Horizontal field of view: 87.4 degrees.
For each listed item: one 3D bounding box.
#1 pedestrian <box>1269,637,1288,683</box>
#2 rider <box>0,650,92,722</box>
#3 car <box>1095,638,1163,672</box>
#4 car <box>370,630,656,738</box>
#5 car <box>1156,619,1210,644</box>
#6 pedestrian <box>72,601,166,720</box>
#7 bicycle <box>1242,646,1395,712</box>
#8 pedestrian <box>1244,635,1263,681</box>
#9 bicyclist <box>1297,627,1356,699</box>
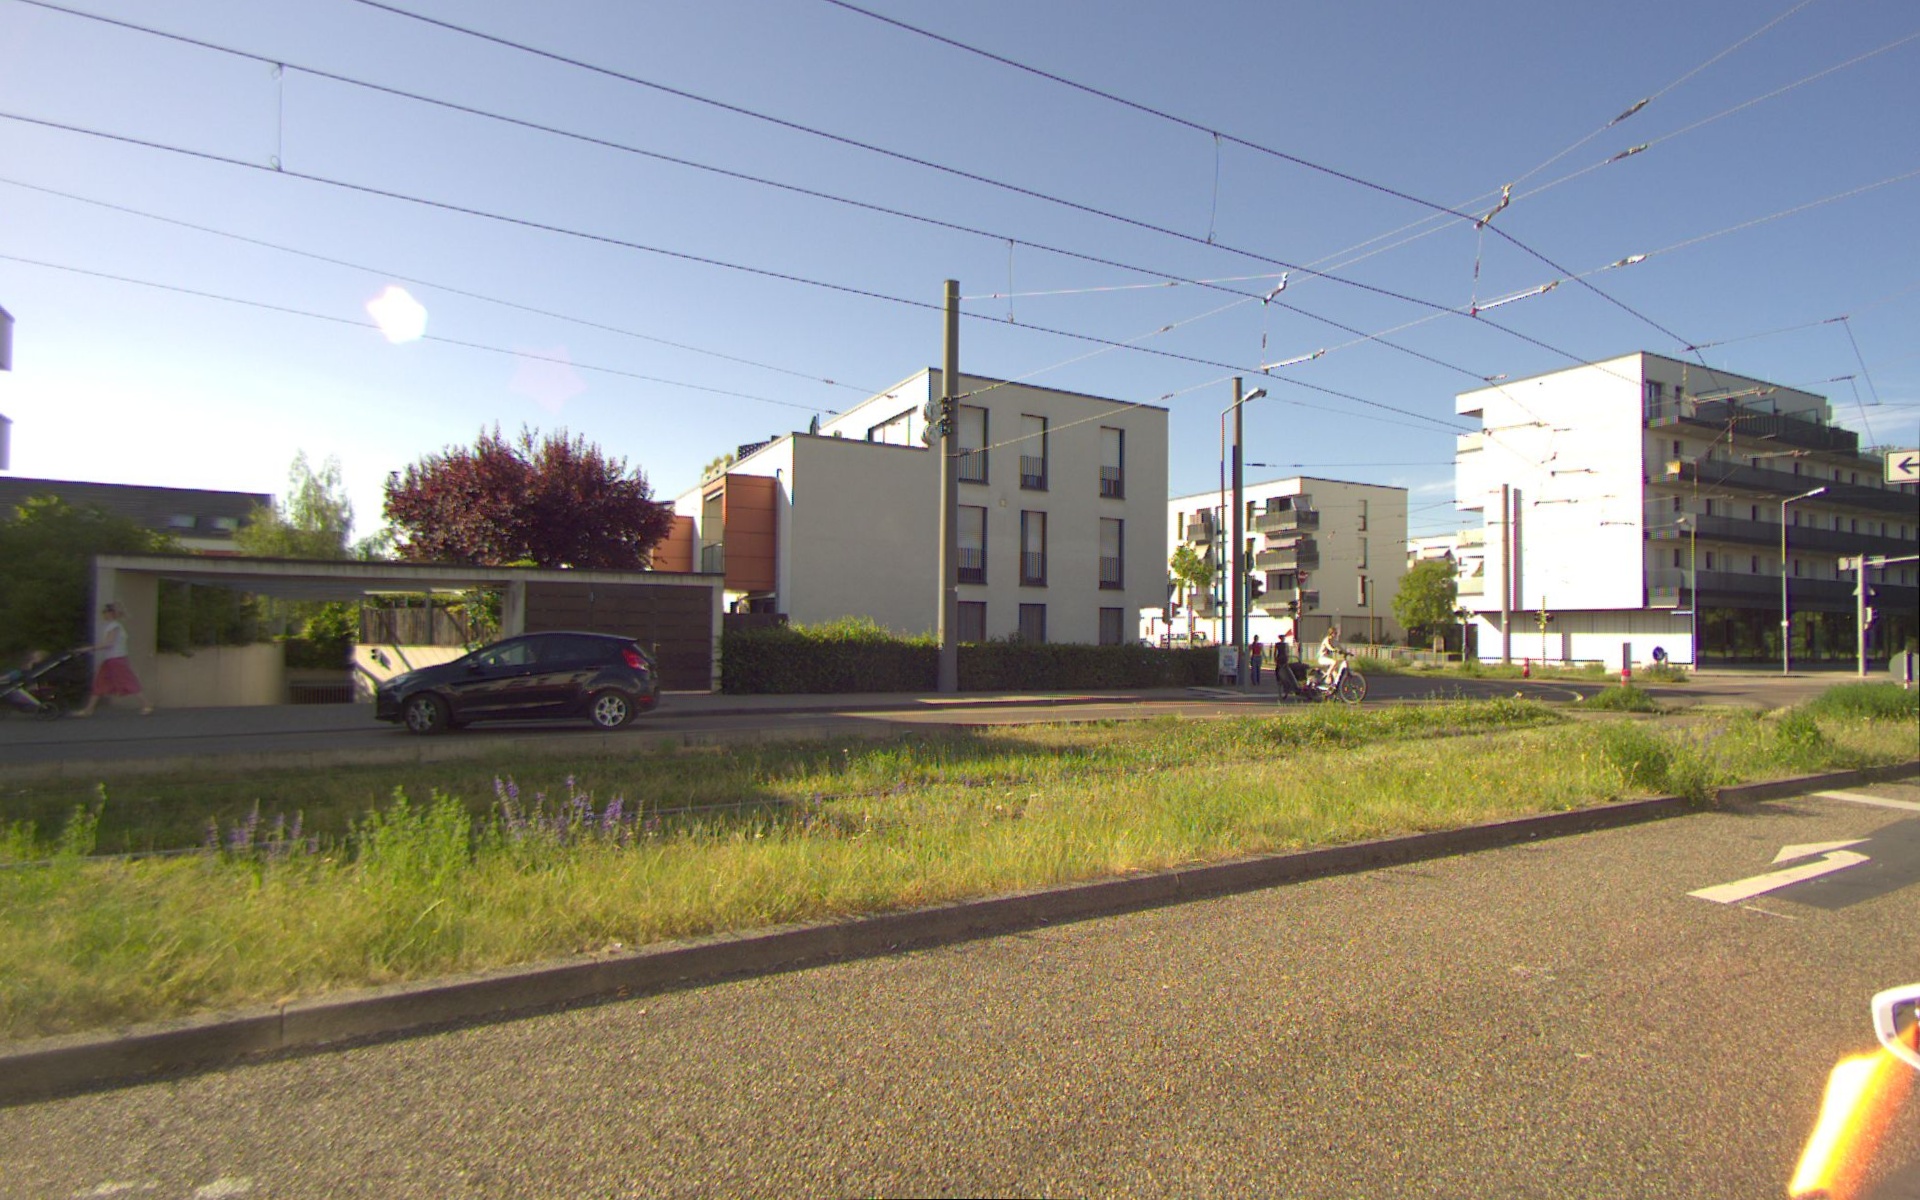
[{"bbox_3d":[10.583,1.997,33.365,0.548,1.483,0.611,1,0,23],"label":"pedestrian"},{"bbox_3d":[-13.913,1.275,15.163,1.031,1.016,0.775,1,0,-25],"label":"rider"},{"bbox_3d":[8.633,2.809,51.488,1.574,1.674,3.475,1,-3,-30],"label":"car"},{"bbox_3d":[-6.498,1.212,15.036,3.678,1.449,1.704,0,-3,-16],"label":"car"},{"bbox_3d":[17.743,2.497,80.066,1.977,1.862,3.967,1,0,-31],"label":"car"},{"bbox_3d":[-13.009,0.915,15.571,0.897,1.771,0.813,1,0,-25],"label":"pedestrian"},{"bbox_3d":[8.568,1.852,24.295,0.988,1.190,3.664,1,1,-31],"label":"bicycle"},{"bbox_3d":[9.872,1.945,33.806,0.548,1.483,0.742,1,0,19],"label":"pedestrian"},{"bbox_3d":[8.752,1.483,24.003,0.965,1.651,0.905,1,0,-31],"label":"bicyclist"}]
